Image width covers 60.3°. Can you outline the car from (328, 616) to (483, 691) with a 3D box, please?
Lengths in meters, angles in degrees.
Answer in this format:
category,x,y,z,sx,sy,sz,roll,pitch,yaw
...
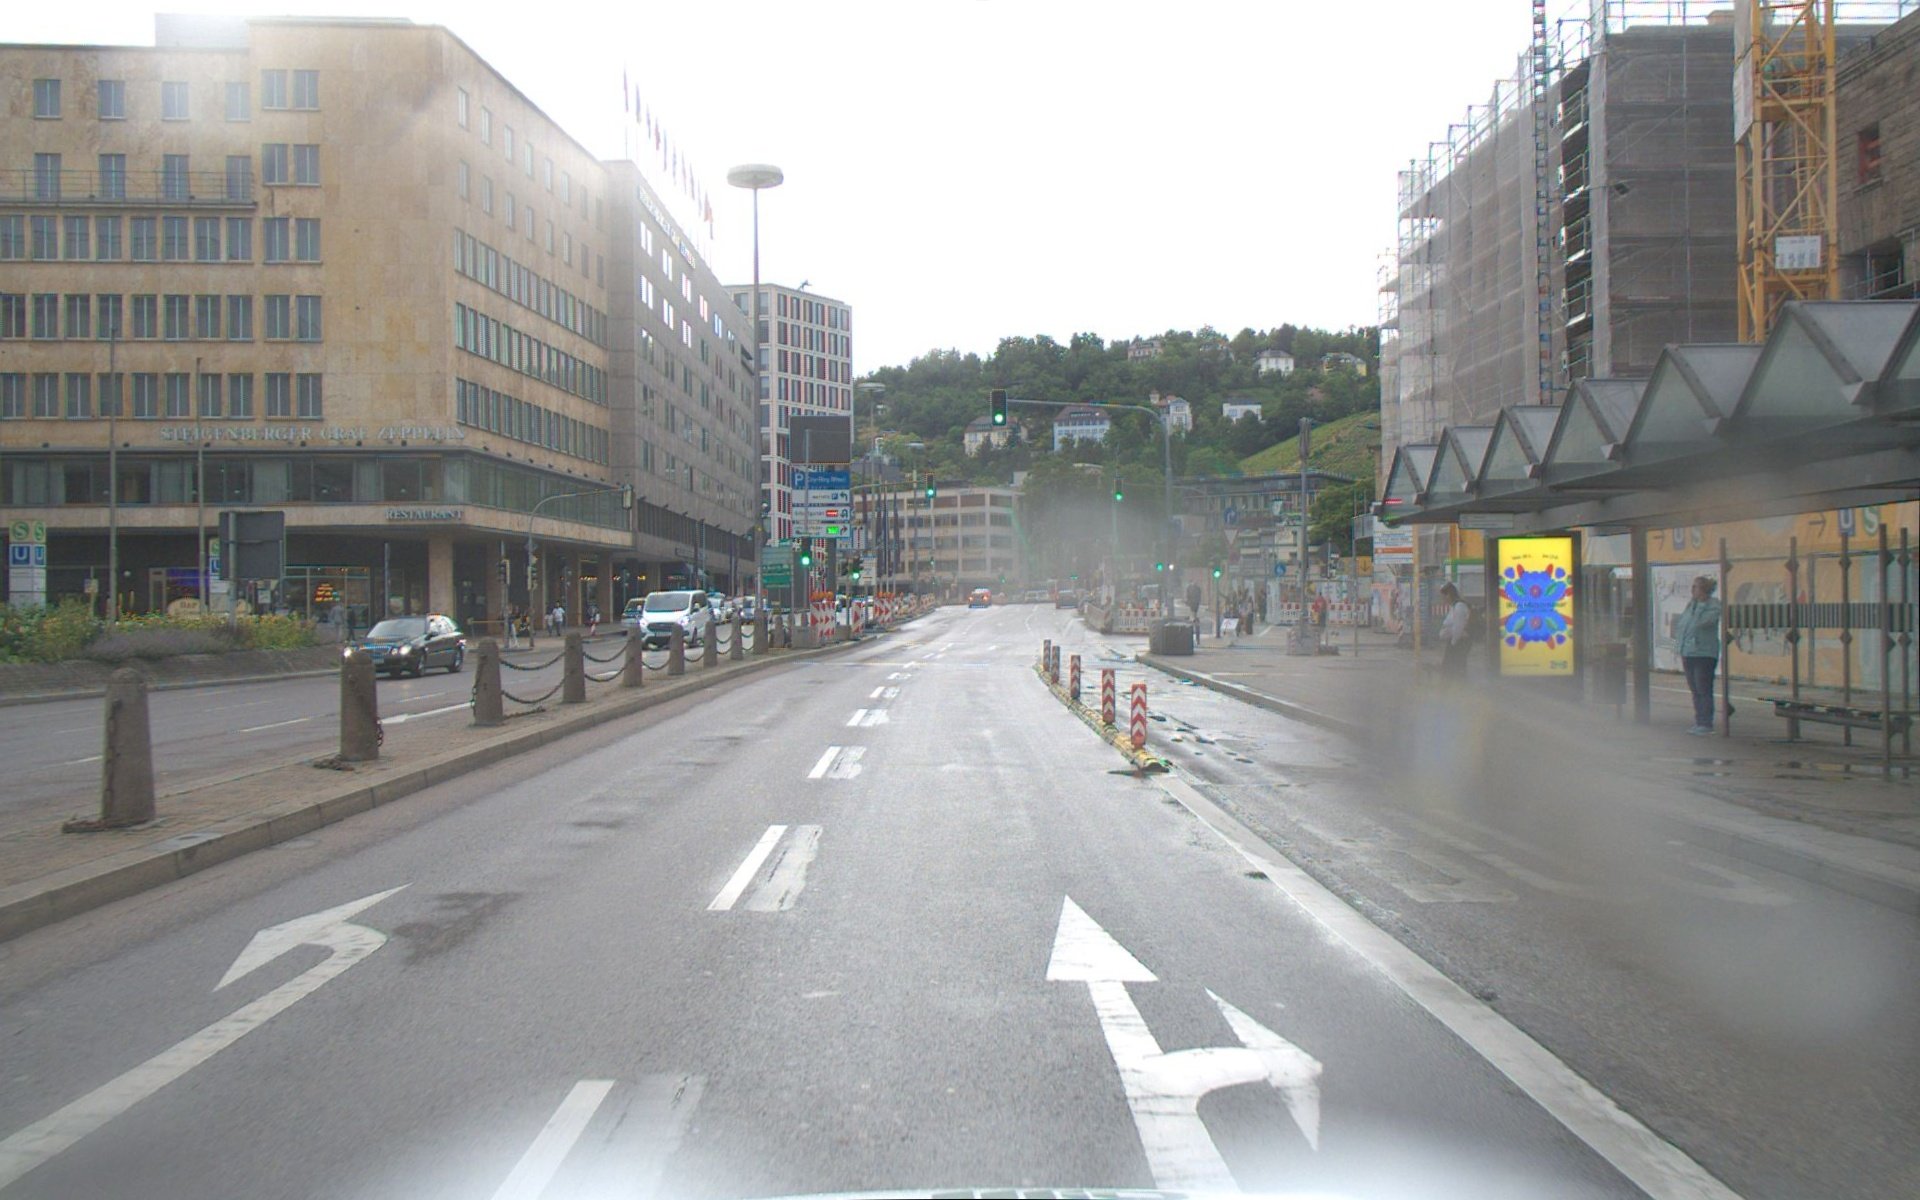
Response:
category,x,y,z,sx,sy,sz,roll,pitch,yaw
car,-13.433,1.255,40.429,1.952,1.645,4.979,-1,0,2

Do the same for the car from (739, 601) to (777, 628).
category,x,y,z,sx,sy,sz,roll,pitch,yaw
car,-12.783,0.908,104.908,1.731,1.637,4.227,-1,0,1

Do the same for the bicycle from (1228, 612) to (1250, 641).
category,x,y,z,sx,sy,sz,roll,pitch,yaw
bicycle,10.764,1.033,63.882,0.692,1.068,1.807,0,1,5

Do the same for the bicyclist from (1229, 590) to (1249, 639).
category,x,y,z,sx,sy,sz,roll,pitch,yaw
bicyclist,10.757,0.569,63.826,0.688,1.877,0.968,0,-1,6

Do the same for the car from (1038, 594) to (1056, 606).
category,x,y,z,sx,sy,sz,roll,pitch,yaw
car,10.913,-0.030,207.544,1.953,1.467,4.000,1,0,0

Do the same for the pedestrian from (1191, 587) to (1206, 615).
category,x,y,z,sx,sy,sz,roll,pitch,yaw
pedestrian,16.040,0.075,111.205,0.926,1.873,0.868,-1,-1,7

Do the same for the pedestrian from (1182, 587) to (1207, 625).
category,x,y,z,sx,sy,sz,roll,pitch,yaw
pedestrian,11.733,0.285,82.666,0.929,1.873,0.944,-1,-1,31

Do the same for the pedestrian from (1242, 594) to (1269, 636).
category,x,y,z,sx,sy,sz,roll,pitch,yaw
pedestrian,11.797,0.590,66.033,0.780,1.636,0.834,-1,-1,30

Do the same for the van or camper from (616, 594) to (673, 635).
category,x,y,z,sx,sy,sz,roll,pitch,yaw
van or camper,-16.621,0.771,87.296,1.952,2.049,4.965,-1,0,1

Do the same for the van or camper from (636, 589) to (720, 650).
category,x,y,z,sx,sy,sz,roll,pitch,yaw
van or camper,-10.056,0.690,59.336,1.952,2.049,5.190,-1,-1,2

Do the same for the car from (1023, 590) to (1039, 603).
category,x,y,z,sx,sy,sz,roll,pitch,yaw
car,8.272,-0.429,193.075,1.782,1.467,4.000,1,0,0

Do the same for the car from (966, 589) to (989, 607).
category,x,y,z,sx,sy,sz,roll,pitch,yaw
car,1.583,-0.143,151.027,1.953,1.579,4.000,-1,0,0

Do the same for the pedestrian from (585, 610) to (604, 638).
category,x,y,z,sx,sy,sz,roll,pitch,yaw
pedestrian,-20.422,1.323,92.340,0.778,1.553,0.916,-1,-1,3

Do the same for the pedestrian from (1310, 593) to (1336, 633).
category,x,y,z,sx,sy,sz,roll,pitch,yaw
pedestrian,15.028,0.525,68.484,0.754,1.636,0.860,-1,-1,-13

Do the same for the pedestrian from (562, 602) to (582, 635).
category,x,y,z,sx,sy,sz,roll,pitch,yaw
pedestrian,-18.787,0.895,80.013,0.706,1.585,0.895,-1,-1,2

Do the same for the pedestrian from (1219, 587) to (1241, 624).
category,x,y,z,sx,sy,sz,roll,pitch,yaw
pedestrian,13.579,0.273,83.242,0.927,1.873,0.867,-1,-1,-2

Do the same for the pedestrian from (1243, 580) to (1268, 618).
category,x,y,z,sx,sy,sz,roll,pitch,yaw
pedestrian,14.992,-0.054,84.023,0.852,1.873,0.943,-2,-1,44

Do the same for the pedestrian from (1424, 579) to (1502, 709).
category,x,y,z,sx,sy,sz,roll,pitch,yaw
pedestrian,6.823,0.586,22.450,0.693,1.709,0.717,-1,0,-28

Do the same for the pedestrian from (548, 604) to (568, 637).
category,x,y,z,sx,sy,sz,roll,pitch,yaw
pedestrian,-19.515,0.981,80.300,0.706,1.585,0.905,-1,-1,2

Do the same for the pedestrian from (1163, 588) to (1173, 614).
category,x,y,z,sx,sy,sz,roll,pitch,yaw
pedestrian,15.106,0.064,119.932,0.673,1.873,0.615,-1,-1,6

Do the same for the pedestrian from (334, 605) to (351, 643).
category,x,y,z,sx,sy,sz,roll,pitch,yaw
pedestrian,-27.811,1.084,74.511,0.684,1.673,0.647,-1,0,-18

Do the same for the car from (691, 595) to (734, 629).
category,x,y,z,sx,sy,sz,roll,pitch,yaw
car,-15.816,0.756,105.961,1.952,2.049,4.165,-1,0,2

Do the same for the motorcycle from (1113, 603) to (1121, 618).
category,x,y,z,sx,sy,sz,roll,pitch,yaw
motorcycle,7.890,0.517,82.989,0.363,0.735,0.922,1,0,3

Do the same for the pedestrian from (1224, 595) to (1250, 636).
category,x,y,z,sx,sy,sz,roll,pitch,yaw
pedestrian,11.117,0.619,66.442,0.780,1.636,0.834,-1,-1,30

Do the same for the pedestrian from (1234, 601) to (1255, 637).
category,x,y,z,sx,sy,sz,roll,pitch,yaw
pedestrian,13.393,0.903,77.864,0.846,1.690,0.797,-1,-1,4

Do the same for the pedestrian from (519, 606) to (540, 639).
category,x,y,z,sx,sy,sz,roll,pitch,yaw
pedestrian,-20.932,1.076,80.501,0.706,1.585,1.005,-1,-1,2

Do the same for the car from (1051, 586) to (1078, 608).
category,x,y,z,sx,sy,sz,roll,pitch,yaw
car,8.391,-0.237,132.969,1.953,1.736,4.000,-1,0,0

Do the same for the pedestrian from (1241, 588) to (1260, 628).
category,x,y,z,sx,sy,sz,roll,pitch,yaw
pedestrian,13.714,0.373,77.977,0.846,1.873,0.798,-1,-1,11

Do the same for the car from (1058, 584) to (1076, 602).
category,x,y,z,sx,sy,sz,roll,pitch,yaw
car,11.275,-0.715,175.180,1.739,1.668,4.000,-2,-2,2

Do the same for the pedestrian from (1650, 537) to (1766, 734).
category,x,y,z,sx,sy,sz,roll,pitch,yaw
pedestrian,8.220,0.377,18.179,0.797,2.086,0.913,1,0,-41

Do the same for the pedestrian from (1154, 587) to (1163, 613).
category,x,y,z,sx,sy,sz,roll,pitch,yaw
pedestrian,14.404,-0.025,120.012,0.673,1.873,0.615,-1,-1,6
